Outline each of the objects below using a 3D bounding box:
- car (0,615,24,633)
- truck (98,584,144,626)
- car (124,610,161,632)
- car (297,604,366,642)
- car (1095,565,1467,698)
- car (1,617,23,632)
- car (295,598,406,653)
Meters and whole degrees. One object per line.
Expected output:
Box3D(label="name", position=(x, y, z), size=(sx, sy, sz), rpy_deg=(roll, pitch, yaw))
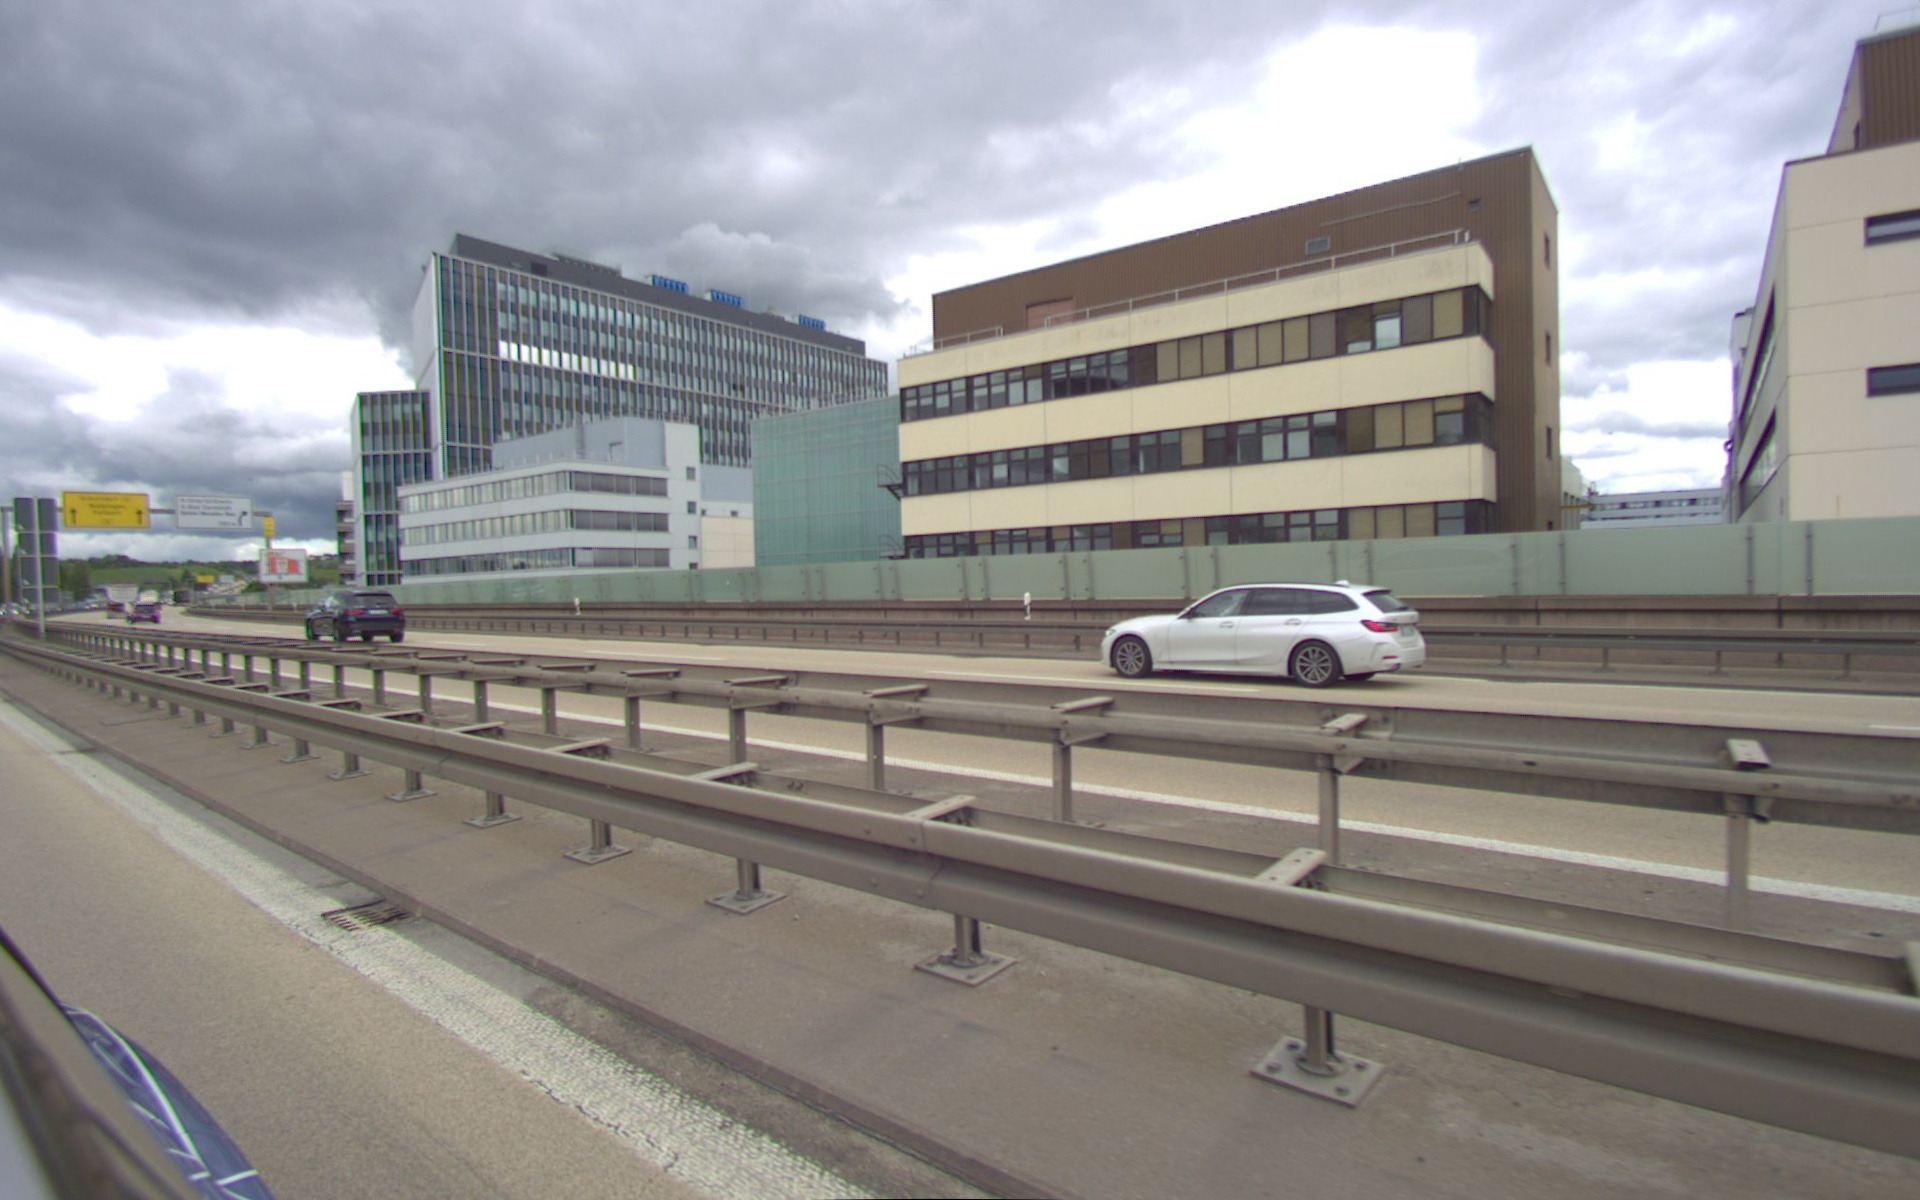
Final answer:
Box3D(label="car", position=(-113.114, 2.823, 120.404), size=(1.967, 2.029, 4.010), rpy_deg=(-1, 0, -35))
Box3D(label="truck", position=(-83.628, 0.523, 100.767), size=(3.222, 3.887, 13.071), rpy_deg=(-2, 0, -41))
Box3D(label="car", position=(-57.295, 1.478, 70.931), size=(1.734, 1.494, 4.095), rpy_deg=(0, -1, -43))
Box3D(label="car", position=(-28.096, 1.005, 45.200), size=(3.684, 1.609, 1.665), rpy_deg=(-1, -1, 42))
Box3D(label="car", position=(4.513, 0.418, 14.713), size=(4.811, 1.623, 1.898), rpy_deg=(-1, -1, 41))
Box3D(label="car", position=(-132.231, 3.444, 141.244), size=(1.968, 2.029, 4.007), rpy_deg=(-1, 0, -39))
Box3D(label="car", position=(-19.501, 0.782, 32.298), size=(4.813, 1.631, 1.735), rpy_deg=(-1, -1, 42))
